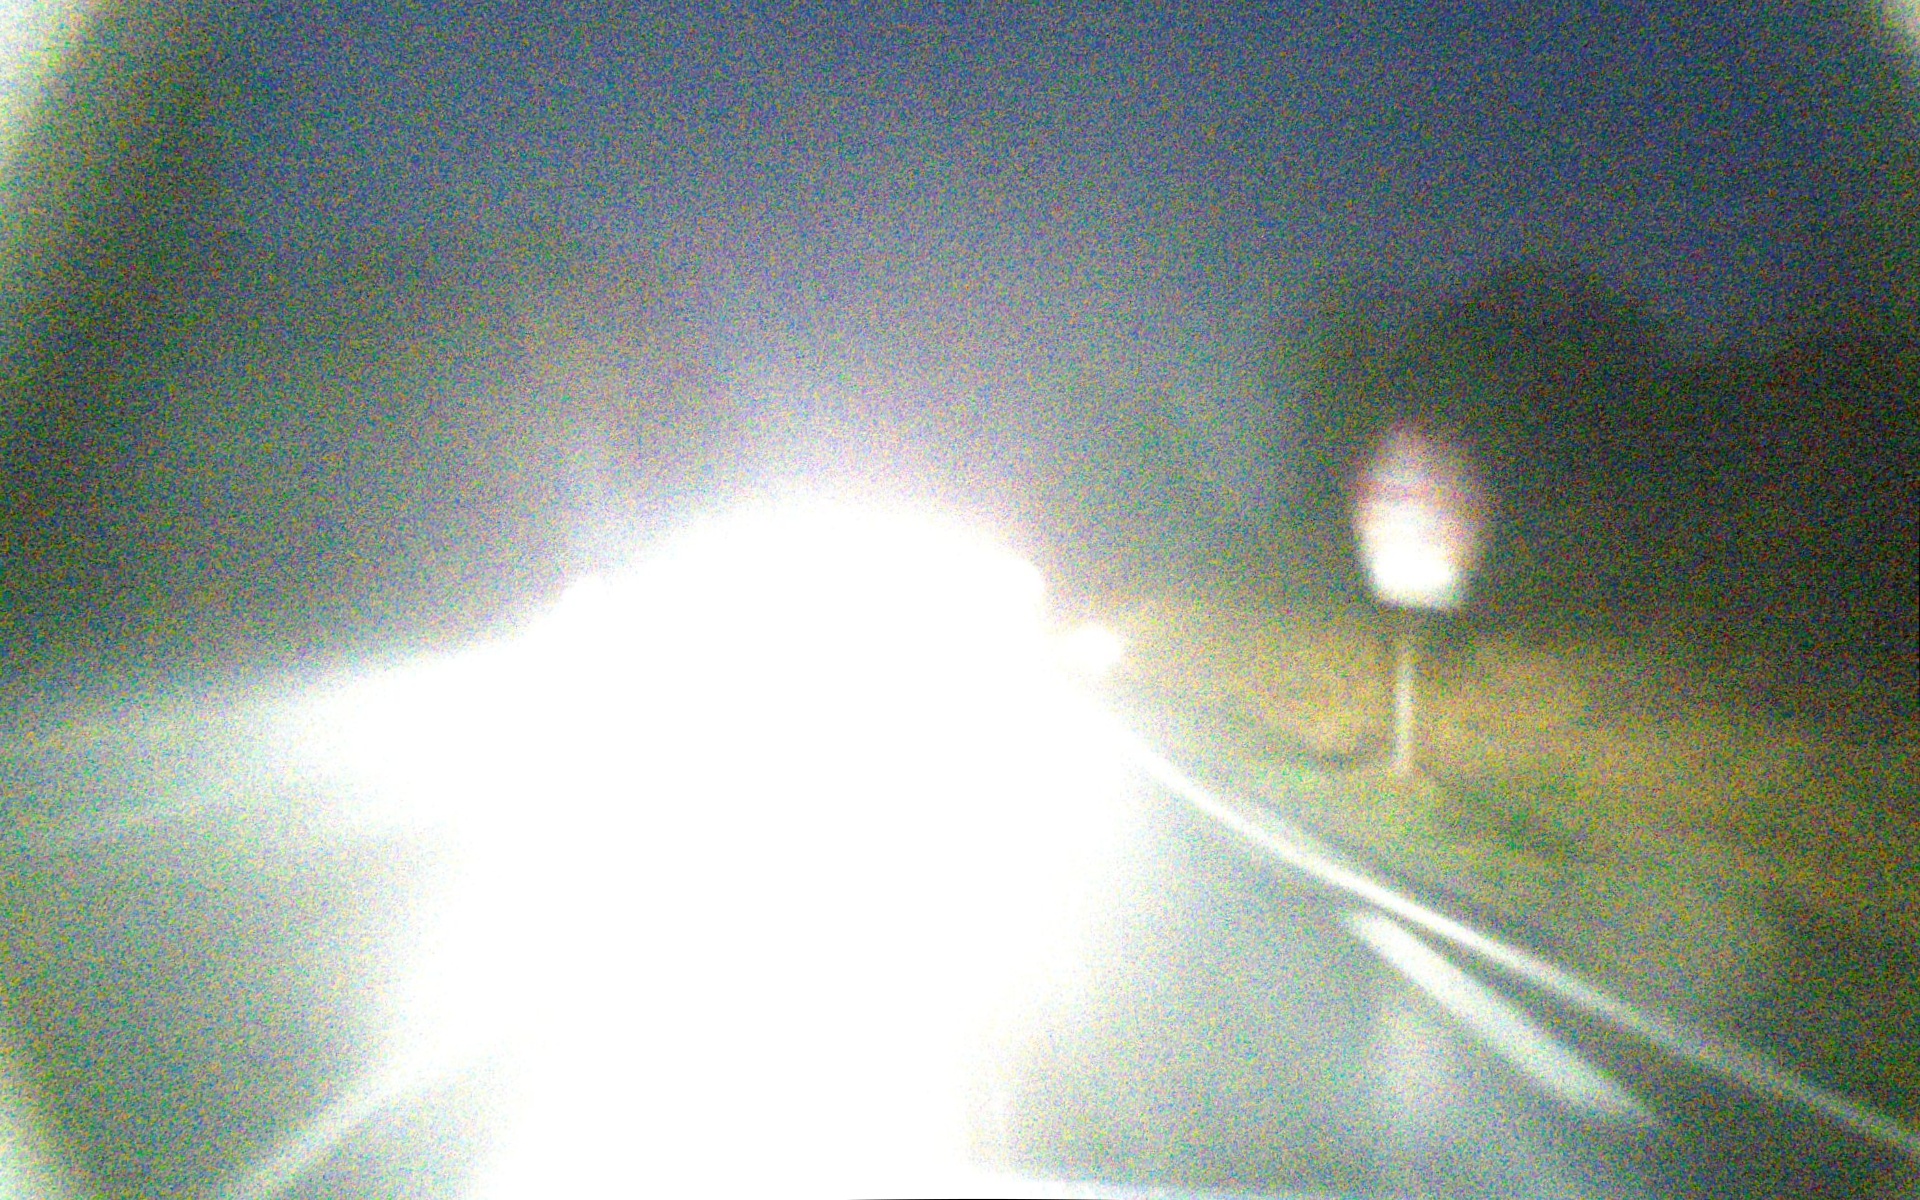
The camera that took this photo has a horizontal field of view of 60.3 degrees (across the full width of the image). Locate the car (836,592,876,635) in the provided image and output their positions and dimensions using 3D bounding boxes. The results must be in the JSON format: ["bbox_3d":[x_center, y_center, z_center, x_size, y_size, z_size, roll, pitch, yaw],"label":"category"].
[{"bbox_3d":[-5.229,0.655,83.135,1.954,2.049,3.997,1,0,-4],"label":"car"}]

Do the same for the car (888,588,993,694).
[{"bbox_3d":[-0.434,0.797,34.633,2.051,2.049,3.999,1,0,-2],"label":"car"}]

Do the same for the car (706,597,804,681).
[{"bbox_3d":[-3.819,0.685,31.198,1.713,1.451,3.681,-1,0,-6],"label":"car"}]
